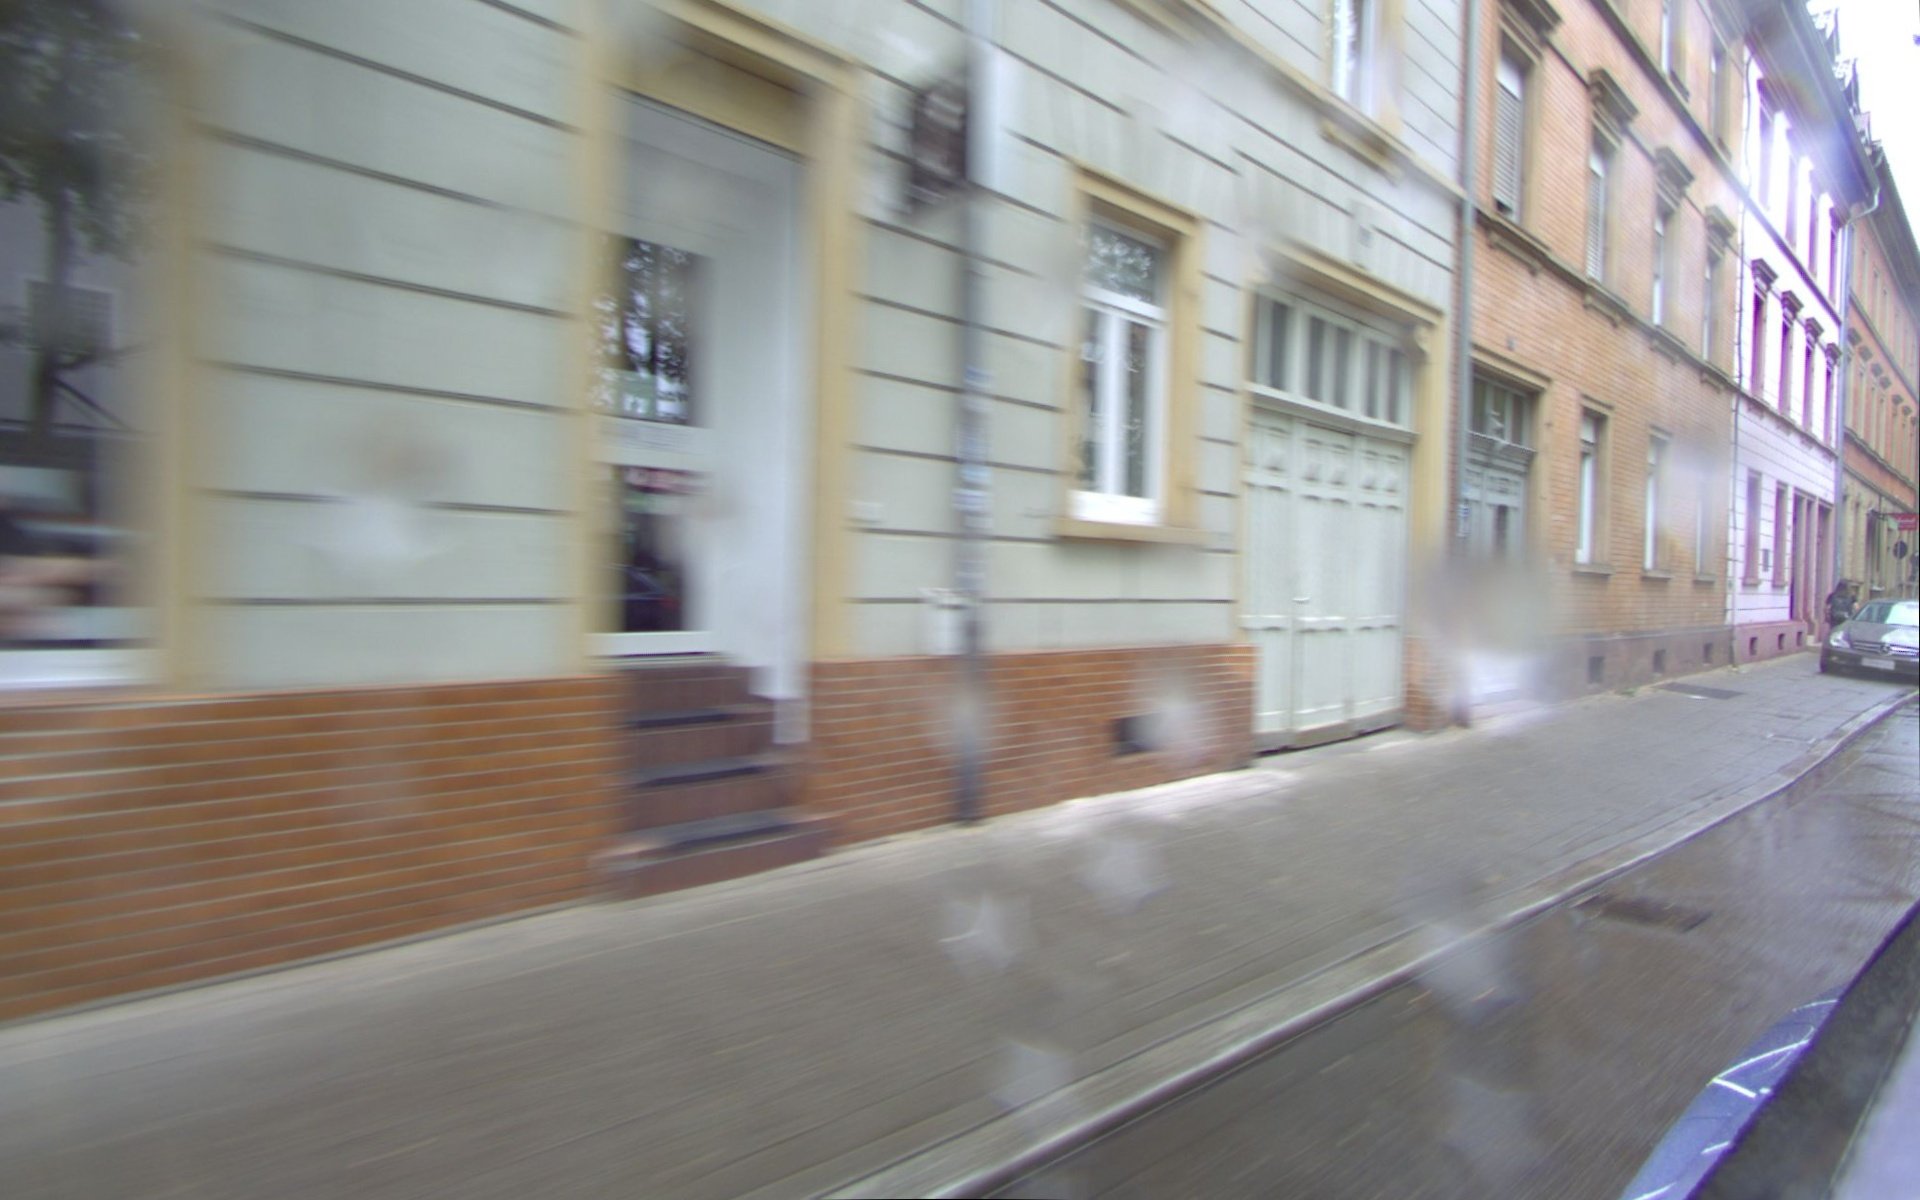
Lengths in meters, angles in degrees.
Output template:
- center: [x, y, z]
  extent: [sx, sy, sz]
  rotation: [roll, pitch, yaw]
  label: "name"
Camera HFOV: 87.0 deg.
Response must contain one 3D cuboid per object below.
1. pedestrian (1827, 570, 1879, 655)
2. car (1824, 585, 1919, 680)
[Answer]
- center: [18.675, 0.244, 21.157]
  extent: [0.593, 1.705, 0.640]
  rotation: [0, 4, -43]
  label: "pedestrian"
- center: [17.003, 0.537, 17.832]
  extent: [4.612, 1.437, 1.819]
  rotation: [0, 5, -39]
  label: "car"
